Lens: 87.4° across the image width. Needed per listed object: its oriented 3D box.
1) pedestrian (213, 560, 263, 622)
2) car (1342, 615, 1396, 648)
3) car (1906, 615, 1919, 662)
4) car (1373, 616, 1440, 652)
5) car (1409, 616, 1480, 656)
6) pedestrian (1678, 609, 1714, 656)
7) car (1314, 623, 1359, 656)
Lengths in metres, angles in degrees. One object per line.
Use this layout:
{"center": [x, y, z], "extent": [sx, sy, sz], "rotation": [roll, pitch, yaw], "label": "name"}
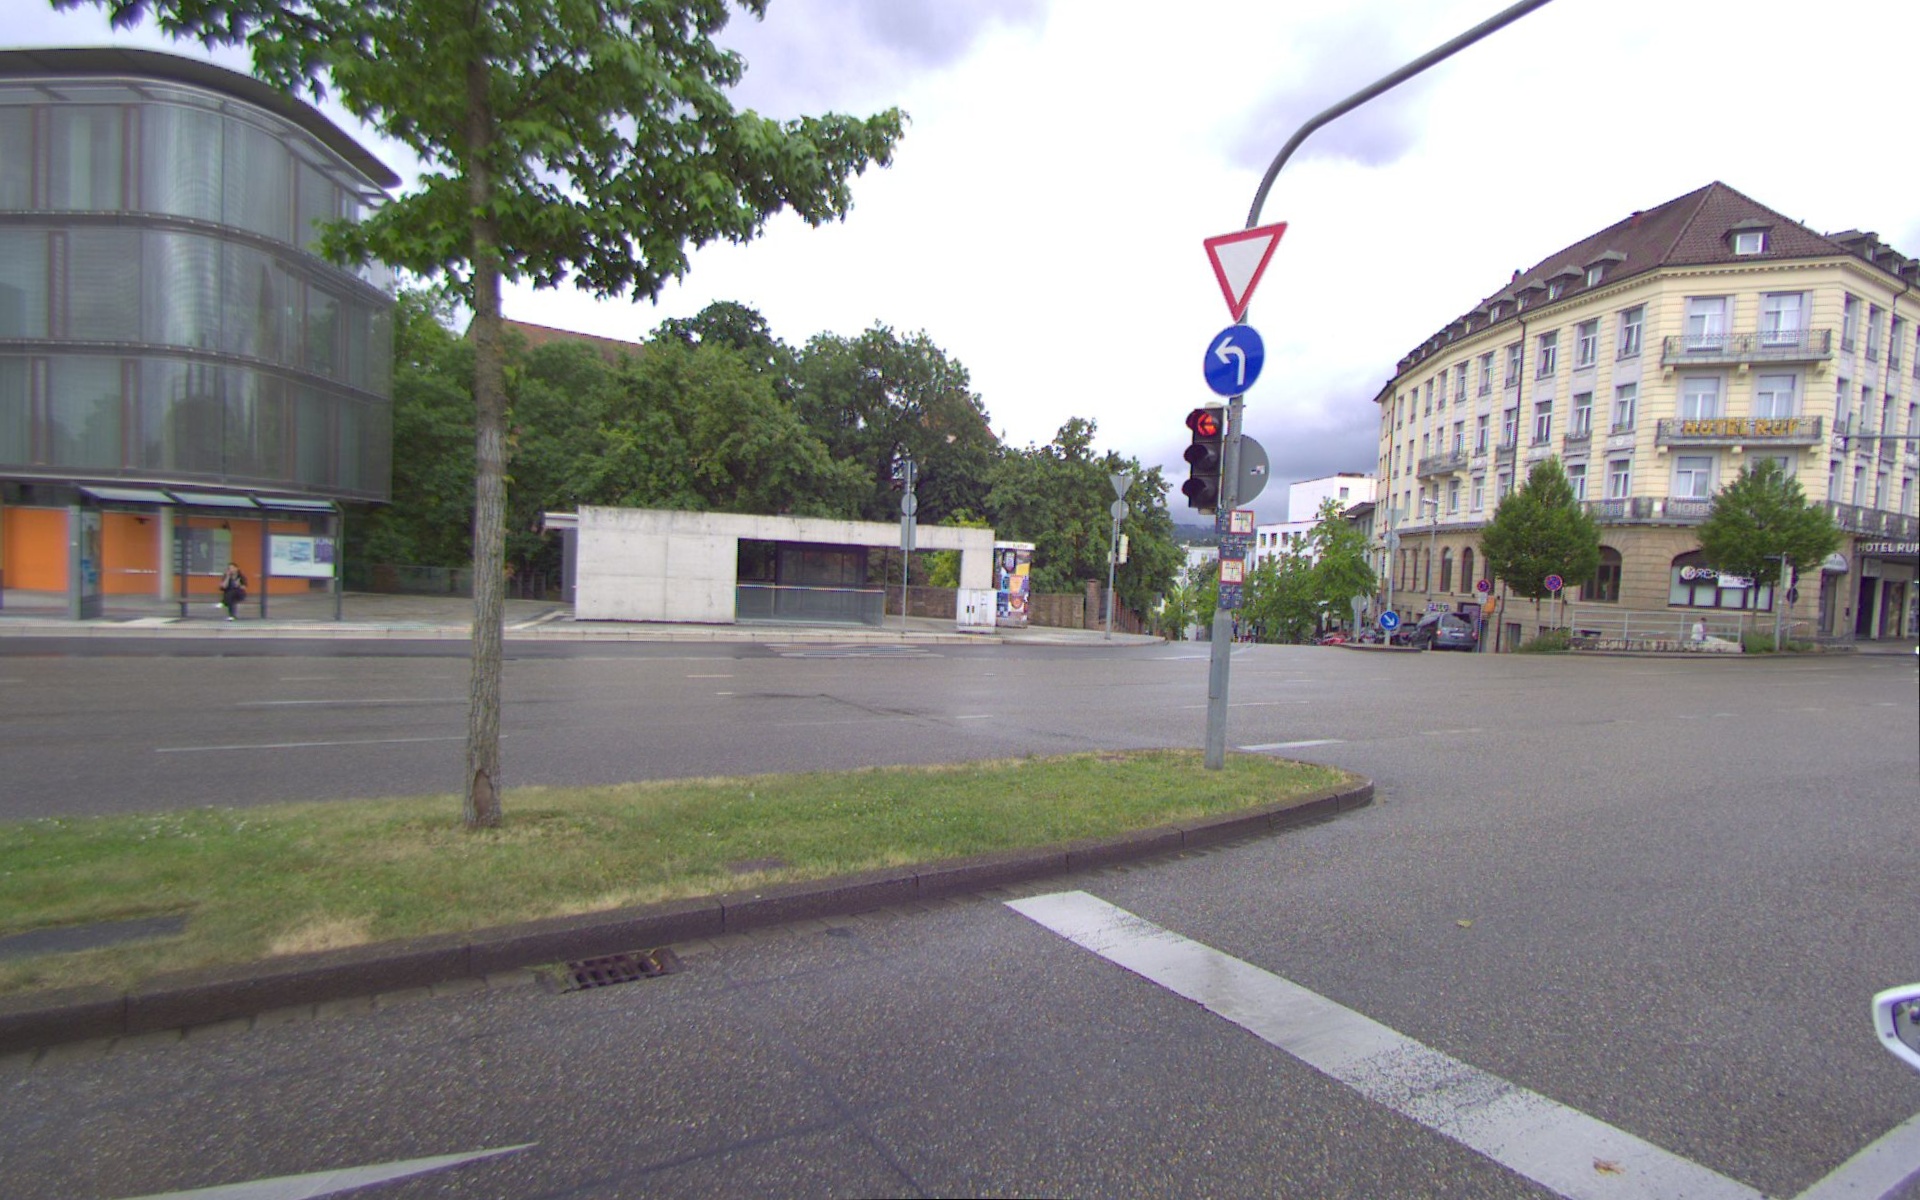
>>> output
{"center": [-16.084, -0.195, 22.381], "extent": [0.780, 1.341, 0.798], "rotation": [1, 1, -28], "label": "pedestrian"}
{"center": [23.161, 1.771, 56.996], "extent": [1.757, 1.662, 3.916], "rotation": [2, 1, 6], "label": "car"}
{"center": [34.084, 1.286, 33.833], "extent": [4.020, 1.551, 1.767], "rotation": [-1, 3, -23], "label": "car"}
{"center": [22.906, 1.717, 51.697], "extent": [1.959, 1.662, 4.002], "rotation": [2, 0, 6], "label": "car"}
{"center": [21.733, 1.575, 45.190], "extent": [1.764, 1.589, 4.002], "rotation": [2, 1, 9], "label": "car"}
{"center": [30.926, 1.353, 42.202], "extent": [1.010, 1.903, 0.859], "rotation": [1, 1, -30], "label": "pedestrian"}
{"center": [23.584, 2.476, 63.050], "extent": [1.741, 1.836, 3.624], "rotation": [2, 1, 7], "label": "car"}
